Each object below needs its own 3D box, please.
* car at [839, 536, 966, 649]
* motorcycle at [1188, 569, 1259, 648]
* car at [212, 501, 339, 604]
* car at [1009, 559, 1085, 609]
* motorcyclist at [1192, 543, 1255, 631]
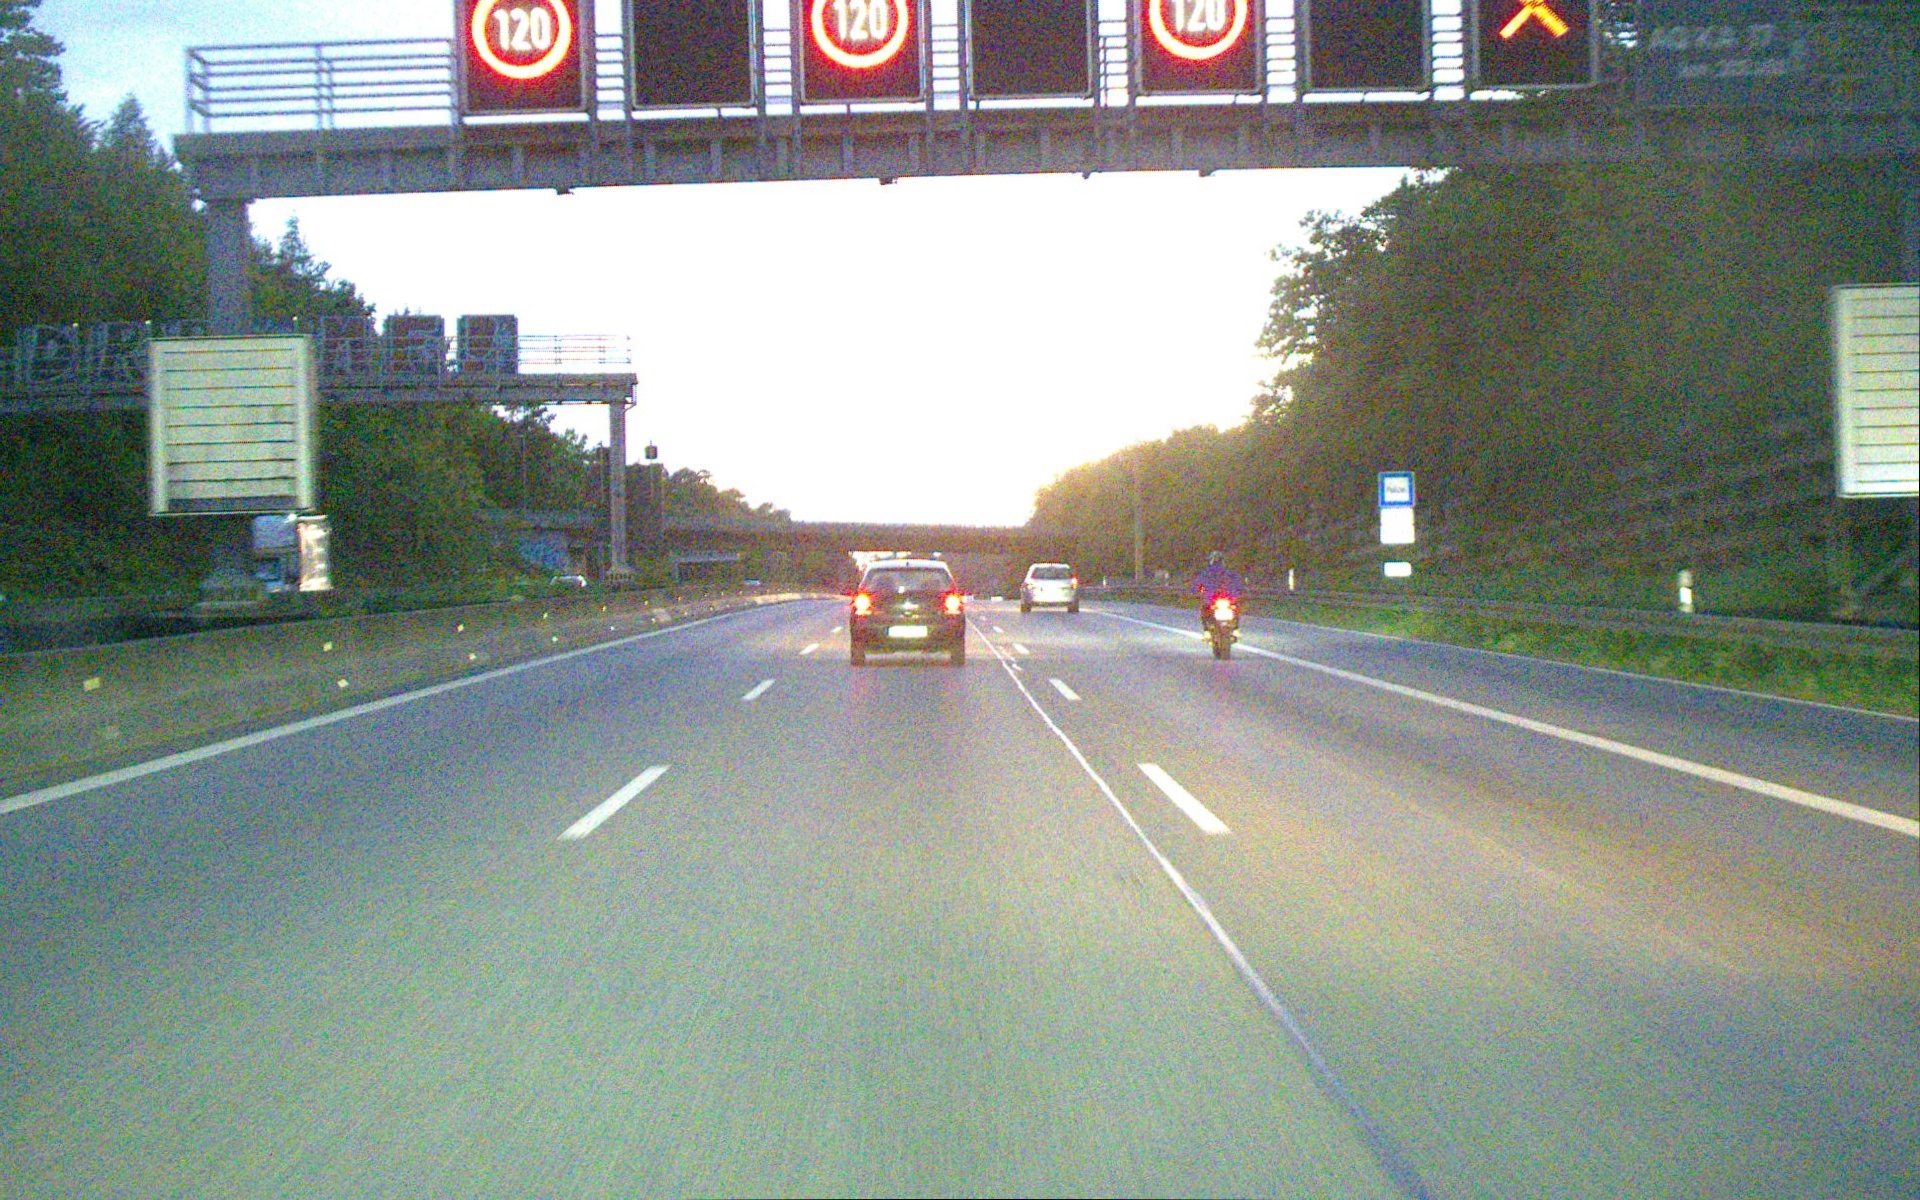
[{"bbox_3d":[-0.794,-0.109,49.124,1.704,1.504,4.232,1,0,0],"label":"car"},{"bbox_3d":[3.903,0.117,51.023,0.829,1.130,2.476,0,1,-1],"label":"motorcycle"},{"bbox_3d":[-19.914,-1.373,100.367,1.982,2.871,7.834,-1,1,1],"label":"car"},{"bbox_3d":[2.687,-0.499,106.861,1.865,1.489,4.399,1,0,-5],"label":"car"},{"bbox_3d":[3.902,-0.203,50.951,0.829,1.287,1.190,0,1,-1],"label":"motorcyclist"}]
